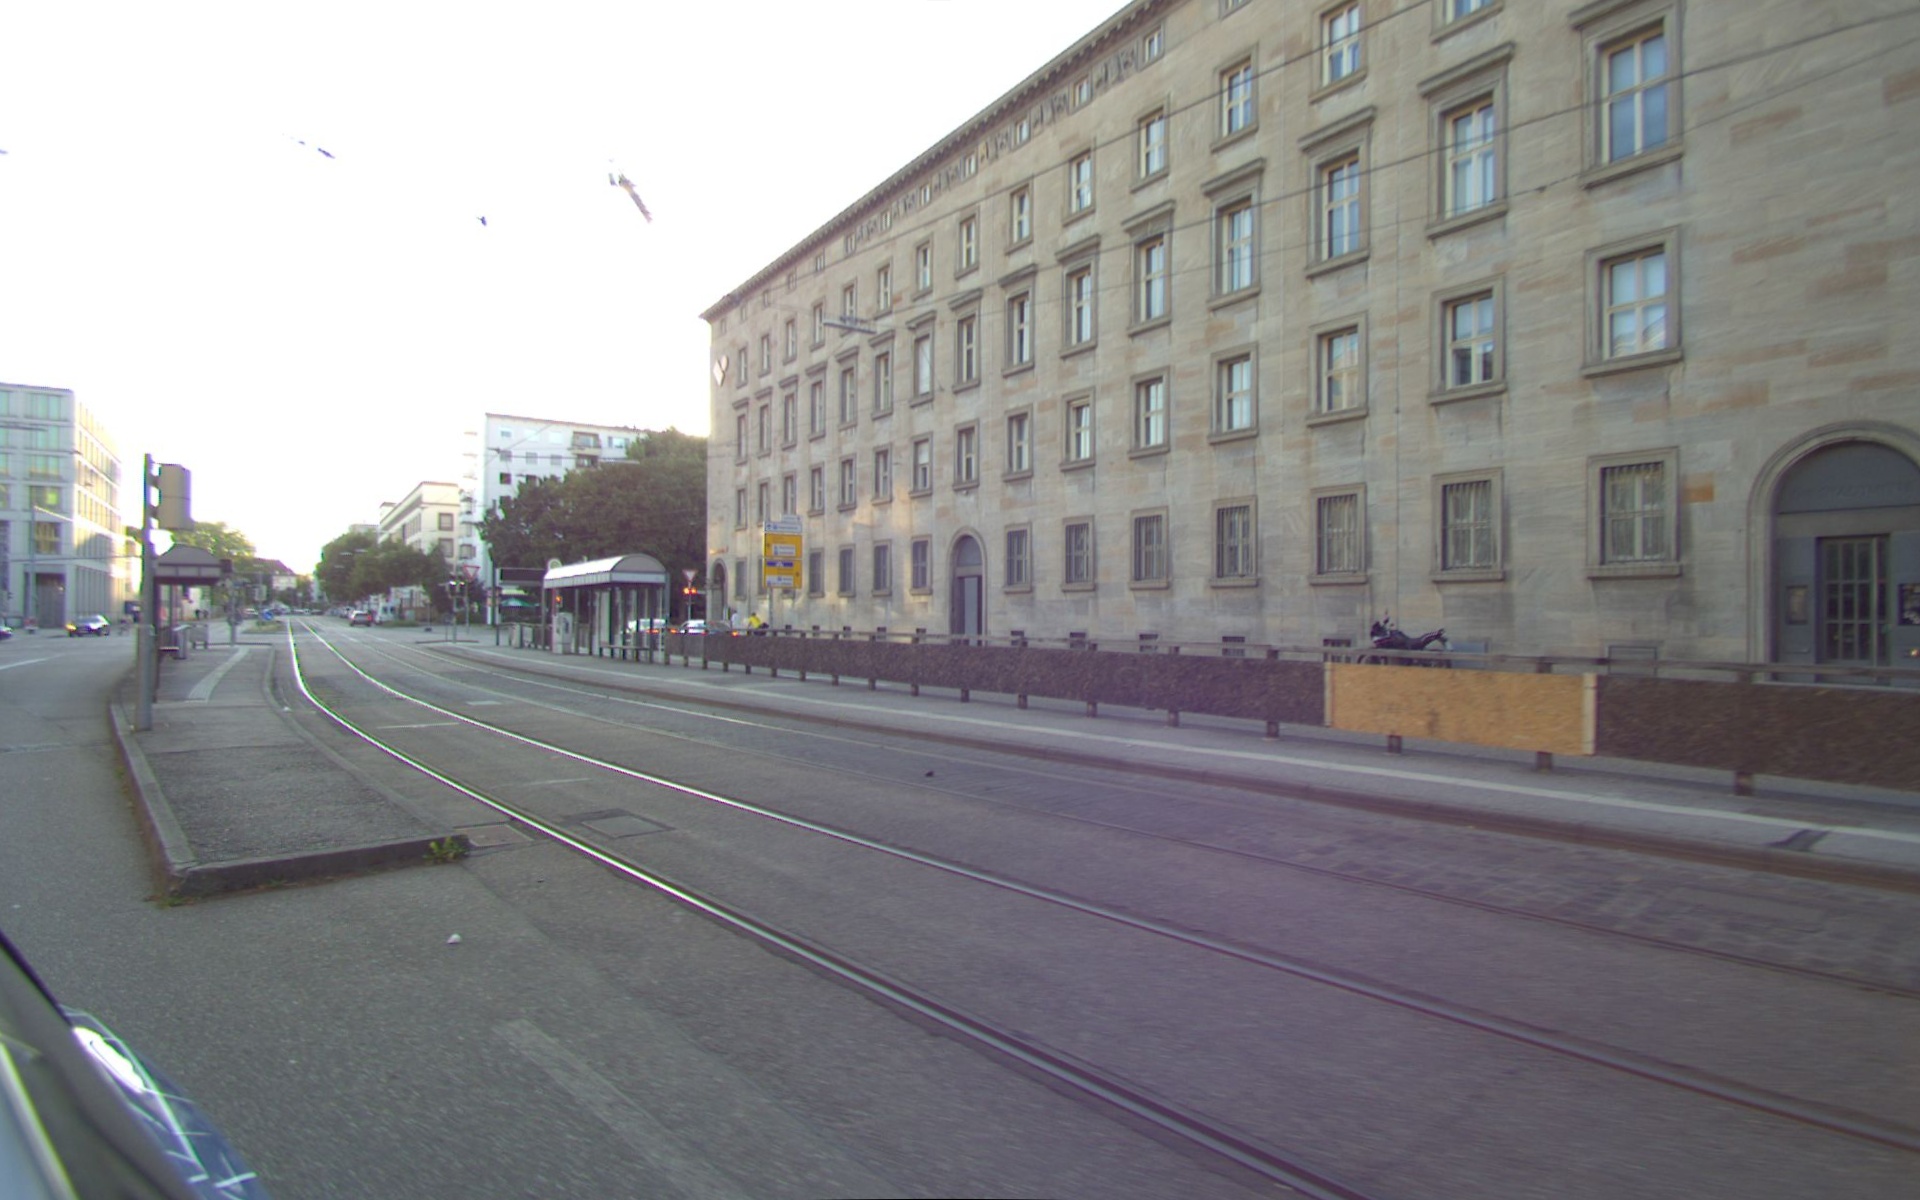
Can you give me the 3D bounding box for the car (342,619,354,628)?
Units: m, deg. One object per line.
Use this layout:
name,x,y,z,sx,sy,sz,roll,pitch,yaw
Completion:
car,-101.546,3.831,168.006,1.694,1.441,3.821,0,-1,-31

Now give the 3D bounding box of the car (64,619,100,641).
car,-64.831,2.205,74.717,1.790,1.534,4.815,-2,0,-43

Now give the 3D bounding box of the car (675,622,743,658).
car,-10.683,1.677,42.965,1.620,1.438,3.714,1,-1,-34

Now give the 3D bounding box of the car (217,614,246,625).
car,-117.882,3.125,163.854,3.746,1.661,1.868,1,-1,-34

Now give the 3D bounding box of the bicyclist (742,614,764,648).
bicyclist,-8.893,1.321,43.410,0.746,1.451,0.598,1,-2,-34

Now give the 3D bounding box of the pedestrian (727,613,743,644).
pedestrian,-12.498,1.567,56.314,0.686,1.723,0.648,1,-1,-31

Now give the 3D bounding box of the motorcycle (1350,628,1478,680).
motorcycle,10.200,1.192,22.865,0.689,1.083,2.660,1,-2,-34

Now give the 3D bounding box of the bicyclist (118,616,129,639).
bicyclist,-61.233,2.011,74.060,0.532,1.648,0.598,1,-1,-34

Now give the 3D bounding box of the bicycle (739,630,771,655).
bicycle,-8.775,1.801,43.197,0.731,1.025,1.765,1,-1,-34

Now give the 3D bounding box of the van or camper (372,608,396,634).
van or camper,-64.803,2.354,113.818,2.076,2.702,4.723,0,-3,-32

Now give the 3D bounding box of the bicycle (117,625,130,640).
bicycle,-61.261,2.385,74.107,0.531,1.059,1.765,1,-1,-33

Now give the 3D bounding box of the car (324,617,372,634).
car,-64.327,2.668,106.411,4.307,1.676,1.877,0,-1,17

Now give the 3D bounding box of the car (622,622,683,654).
car,-14.688,1.761,48.190,1.620,1.438,4.243,1,-1,-34
